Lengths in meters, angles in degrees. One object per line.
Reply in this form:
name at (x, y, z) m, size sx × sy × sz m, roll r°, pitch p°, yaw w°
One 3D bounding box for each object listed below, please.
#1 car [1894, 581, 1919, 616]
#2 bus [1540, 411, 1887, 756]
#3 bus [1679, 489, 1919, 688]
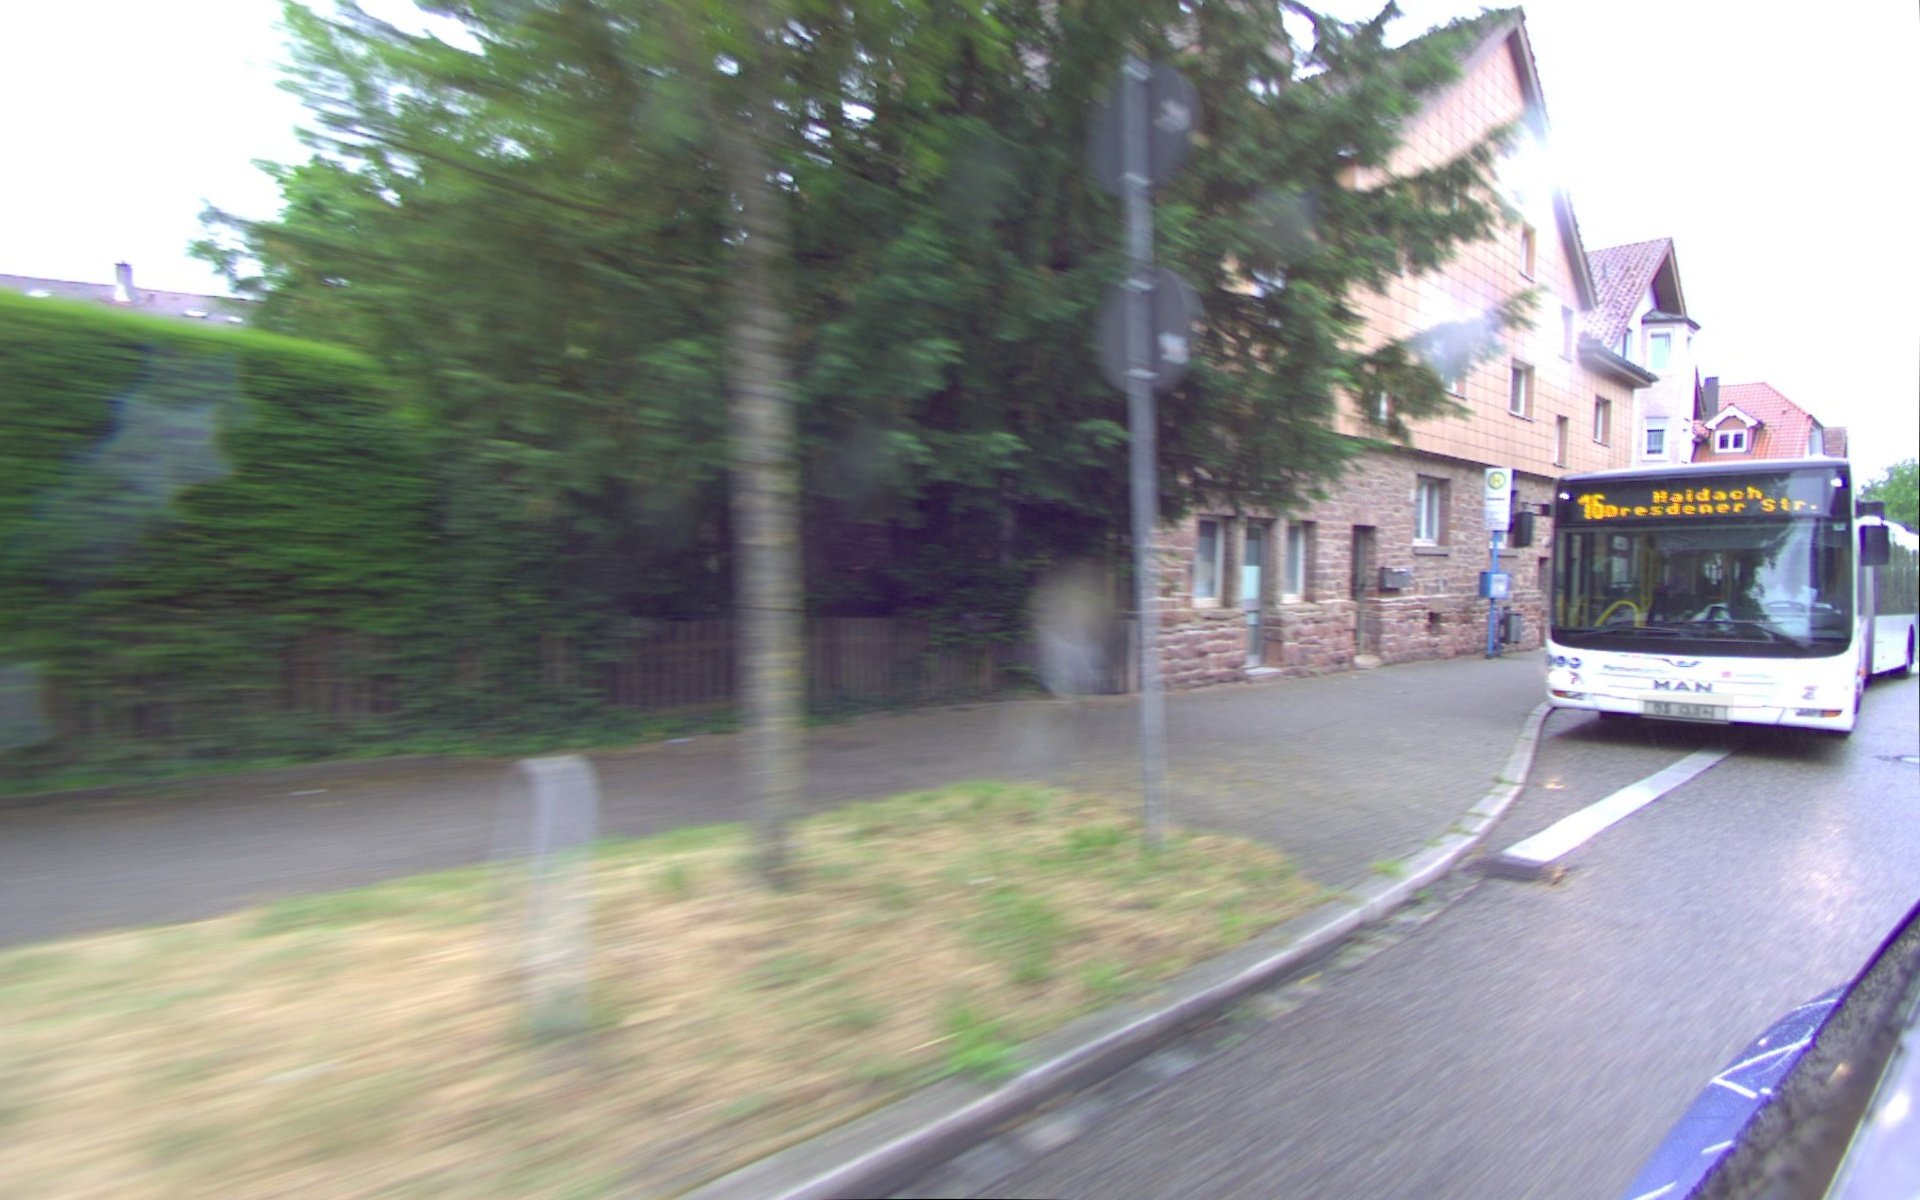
car at (48.701, -0.057, 51.152) m, size 4.410 × 1.681 × 1.924 m, roll 0°, pitch 4°, yaw -45°
bus at (10.164, -0.199, 13.068) m, size 2.556 × 2.996 × 9.303 m, roll 2°, pitch 2°, yaw 43°
bus at (16.302, -0.215, 19.020) m, size 8.407 × 2.996 × 2.560 m, roll 0°, pitch 2°, yaw -41°
